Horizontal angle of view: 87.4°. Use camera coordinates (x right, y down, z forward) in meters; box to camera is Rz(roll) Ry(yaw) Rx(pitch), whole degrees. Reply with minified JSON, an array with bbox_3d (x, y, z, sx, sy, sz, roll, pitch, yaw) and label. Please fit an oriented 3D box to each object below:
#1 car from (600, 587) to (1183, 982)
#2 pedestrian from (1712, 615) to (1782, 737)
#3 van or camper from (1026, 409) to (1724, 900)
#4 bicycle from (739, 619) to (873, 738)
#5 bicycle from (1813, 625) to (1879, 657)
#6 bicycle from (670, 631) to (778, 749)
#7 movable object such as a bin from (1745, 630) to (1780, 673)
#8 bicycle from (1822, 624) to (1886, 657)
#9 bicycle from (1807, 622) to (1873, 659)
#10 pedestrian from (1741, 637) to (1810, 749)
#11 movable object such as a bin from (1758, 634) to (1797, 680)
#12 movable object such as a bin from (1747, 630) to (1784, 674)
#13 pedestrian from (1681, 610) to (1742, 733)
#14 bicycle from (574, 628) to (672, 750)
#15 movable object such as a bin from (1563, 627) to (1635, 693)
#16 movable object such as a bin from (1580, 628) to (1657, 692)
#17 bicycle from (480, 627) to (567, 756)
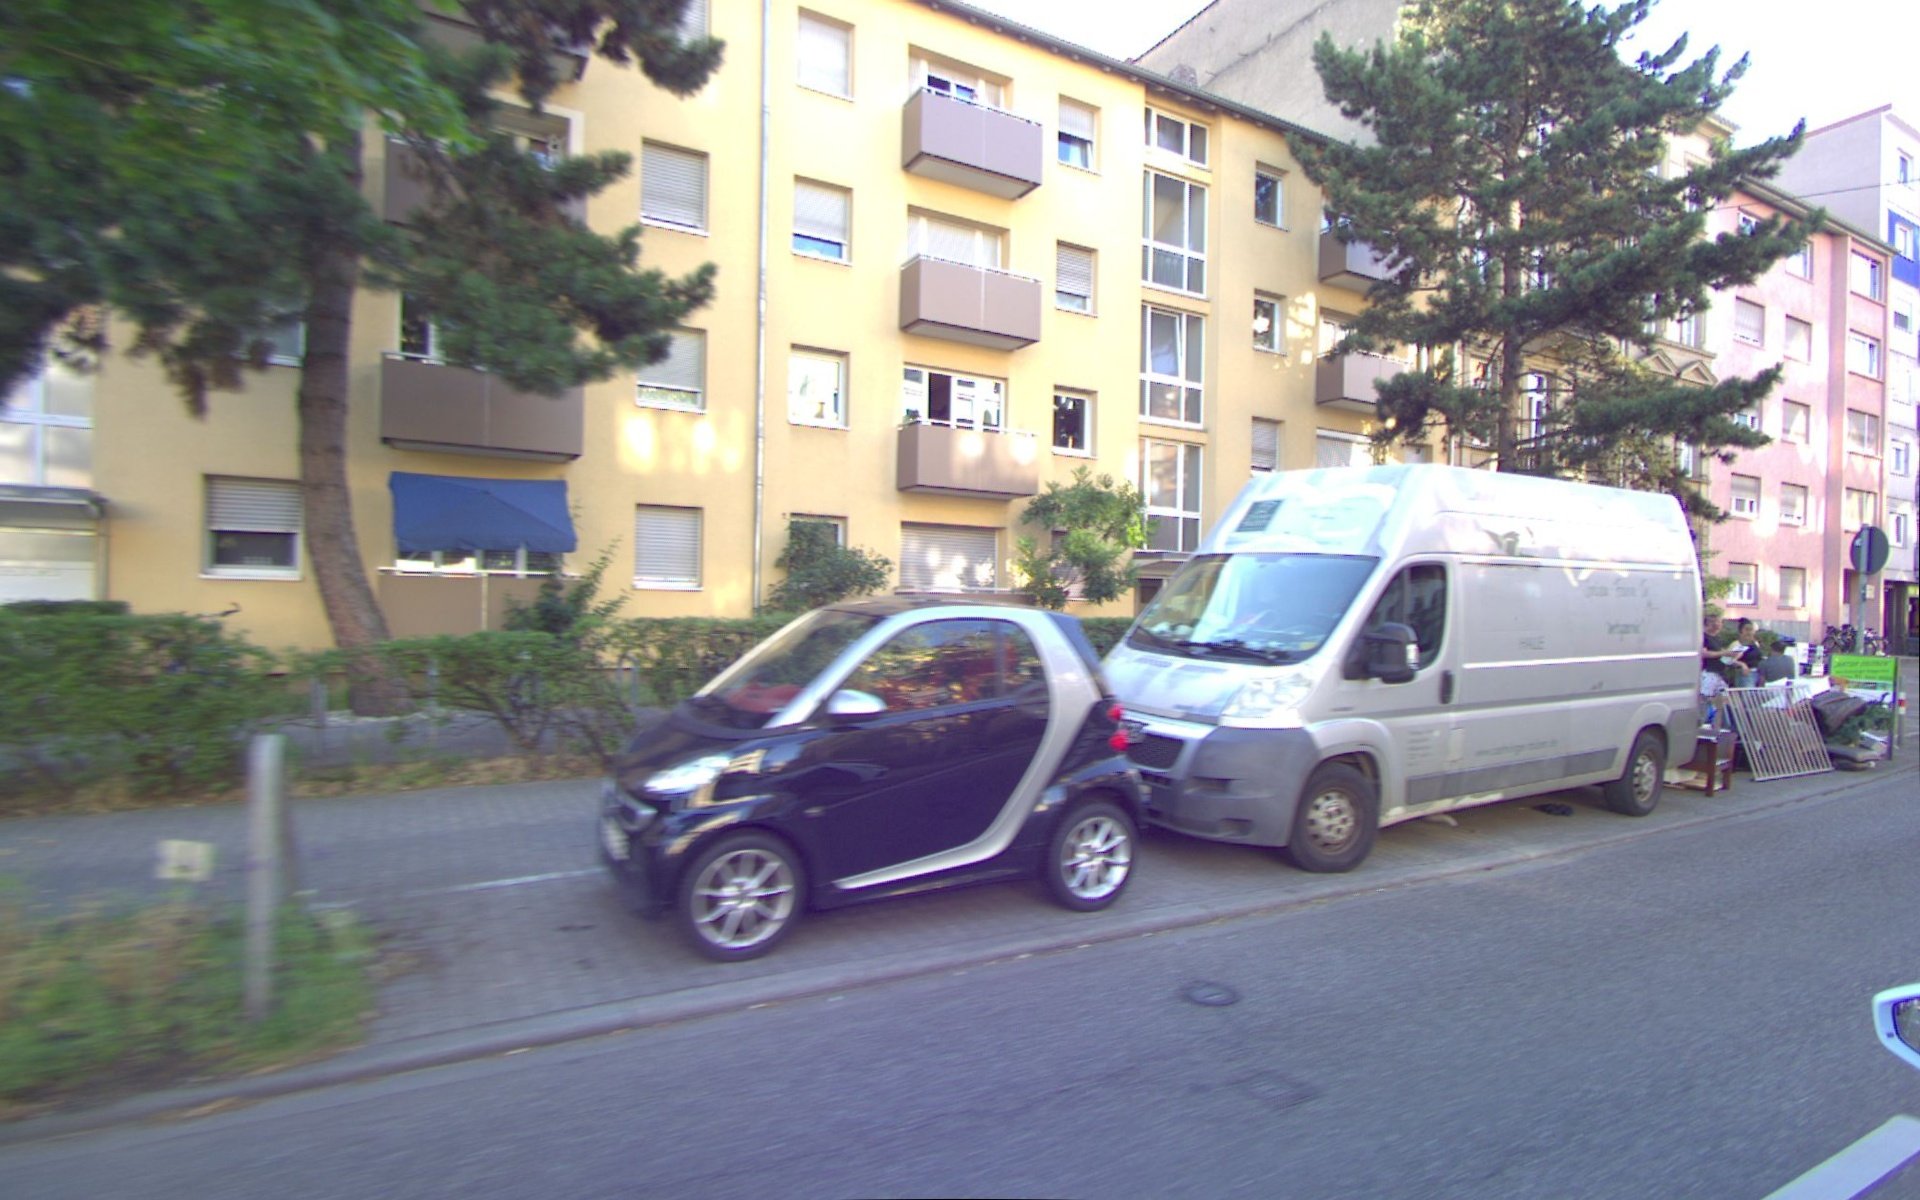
[{"bbox_3d":[-0.358,0.764,5.325,2.727,1.569,1.397,1,2,-29],"label":"car"},{"bbox_3d":[11.243,1.060,14.352,0.690,1.674,0.600,1,0,-36],"label":"pedestrian"},{"bbox_3d":[3.552,0.327,7.992,5.950,2.699,2.024,1,2,-33],"label":"van or camper"},{"bbox_3d":[-1.663,0.772,10.562,0.603,1.108,1.926,1,-1,-35],"label":"bicycle"},{"bbox_3d":[31.256,1.433,35.450,0.544,1.054,1.658,2,1,-36],"label":"bicycle"},{"bbox_3d":[-2.413,0.847,10.092,0.575,0.938,1.927,1,2,-28],"label":"bicycle"},{"bbox_3d":[22.335,1.425,27.975,0.630,1.126,0.582,3,1,30],"label":"movable object such as a bin"},{"bbox_3d":[31.945,1.434,35.897,0.546,1.054,1.653,1,1,-43],"label":"bicycle"},{"bbox_3d":[30.616,1.404,34.963,1.647,1.176,0.495,2,1,35],"label":"bicycle"},{"bbox_3d":[10.739,1.209,13.238,0.476,1.396,0.555,1,1,-35],"label":"pedestrian"},{"bbox_3d":[20.898,1.443,25.695,0.630,1.098,0.582,3,1,30],"label":"movable object such as a bin"},{"bbox_3d":[21.570,1.392,26.914,0.630,1.126,0.582,3,1,30],"label":"movable object such as a bin"},{"bbox_3d":[10.516,0.979,14.062,0.718,1.674,0.476,1,0,-36],"label":"pedestrian"},{"bbox_3d":[-3.276,0.799,9.670,0.575,0.938,1.927,1,2,-28],"label":"bicycle"},{"bbox_3d":[11.290,1.050,17.756,0.575,1.065,0.862,1,3,-31],"label":"movable object such as a bin"},{"bbox_3d":[11.889,1.065,18.147,0.760,1.065,0.862,1,3,-31],"label":"movable object such as a bin"},{"bbox_3d":[-4.042,0.778,9.226,0.575,0.938,1.927,1,2,-28],"label":"bicycle"}]
